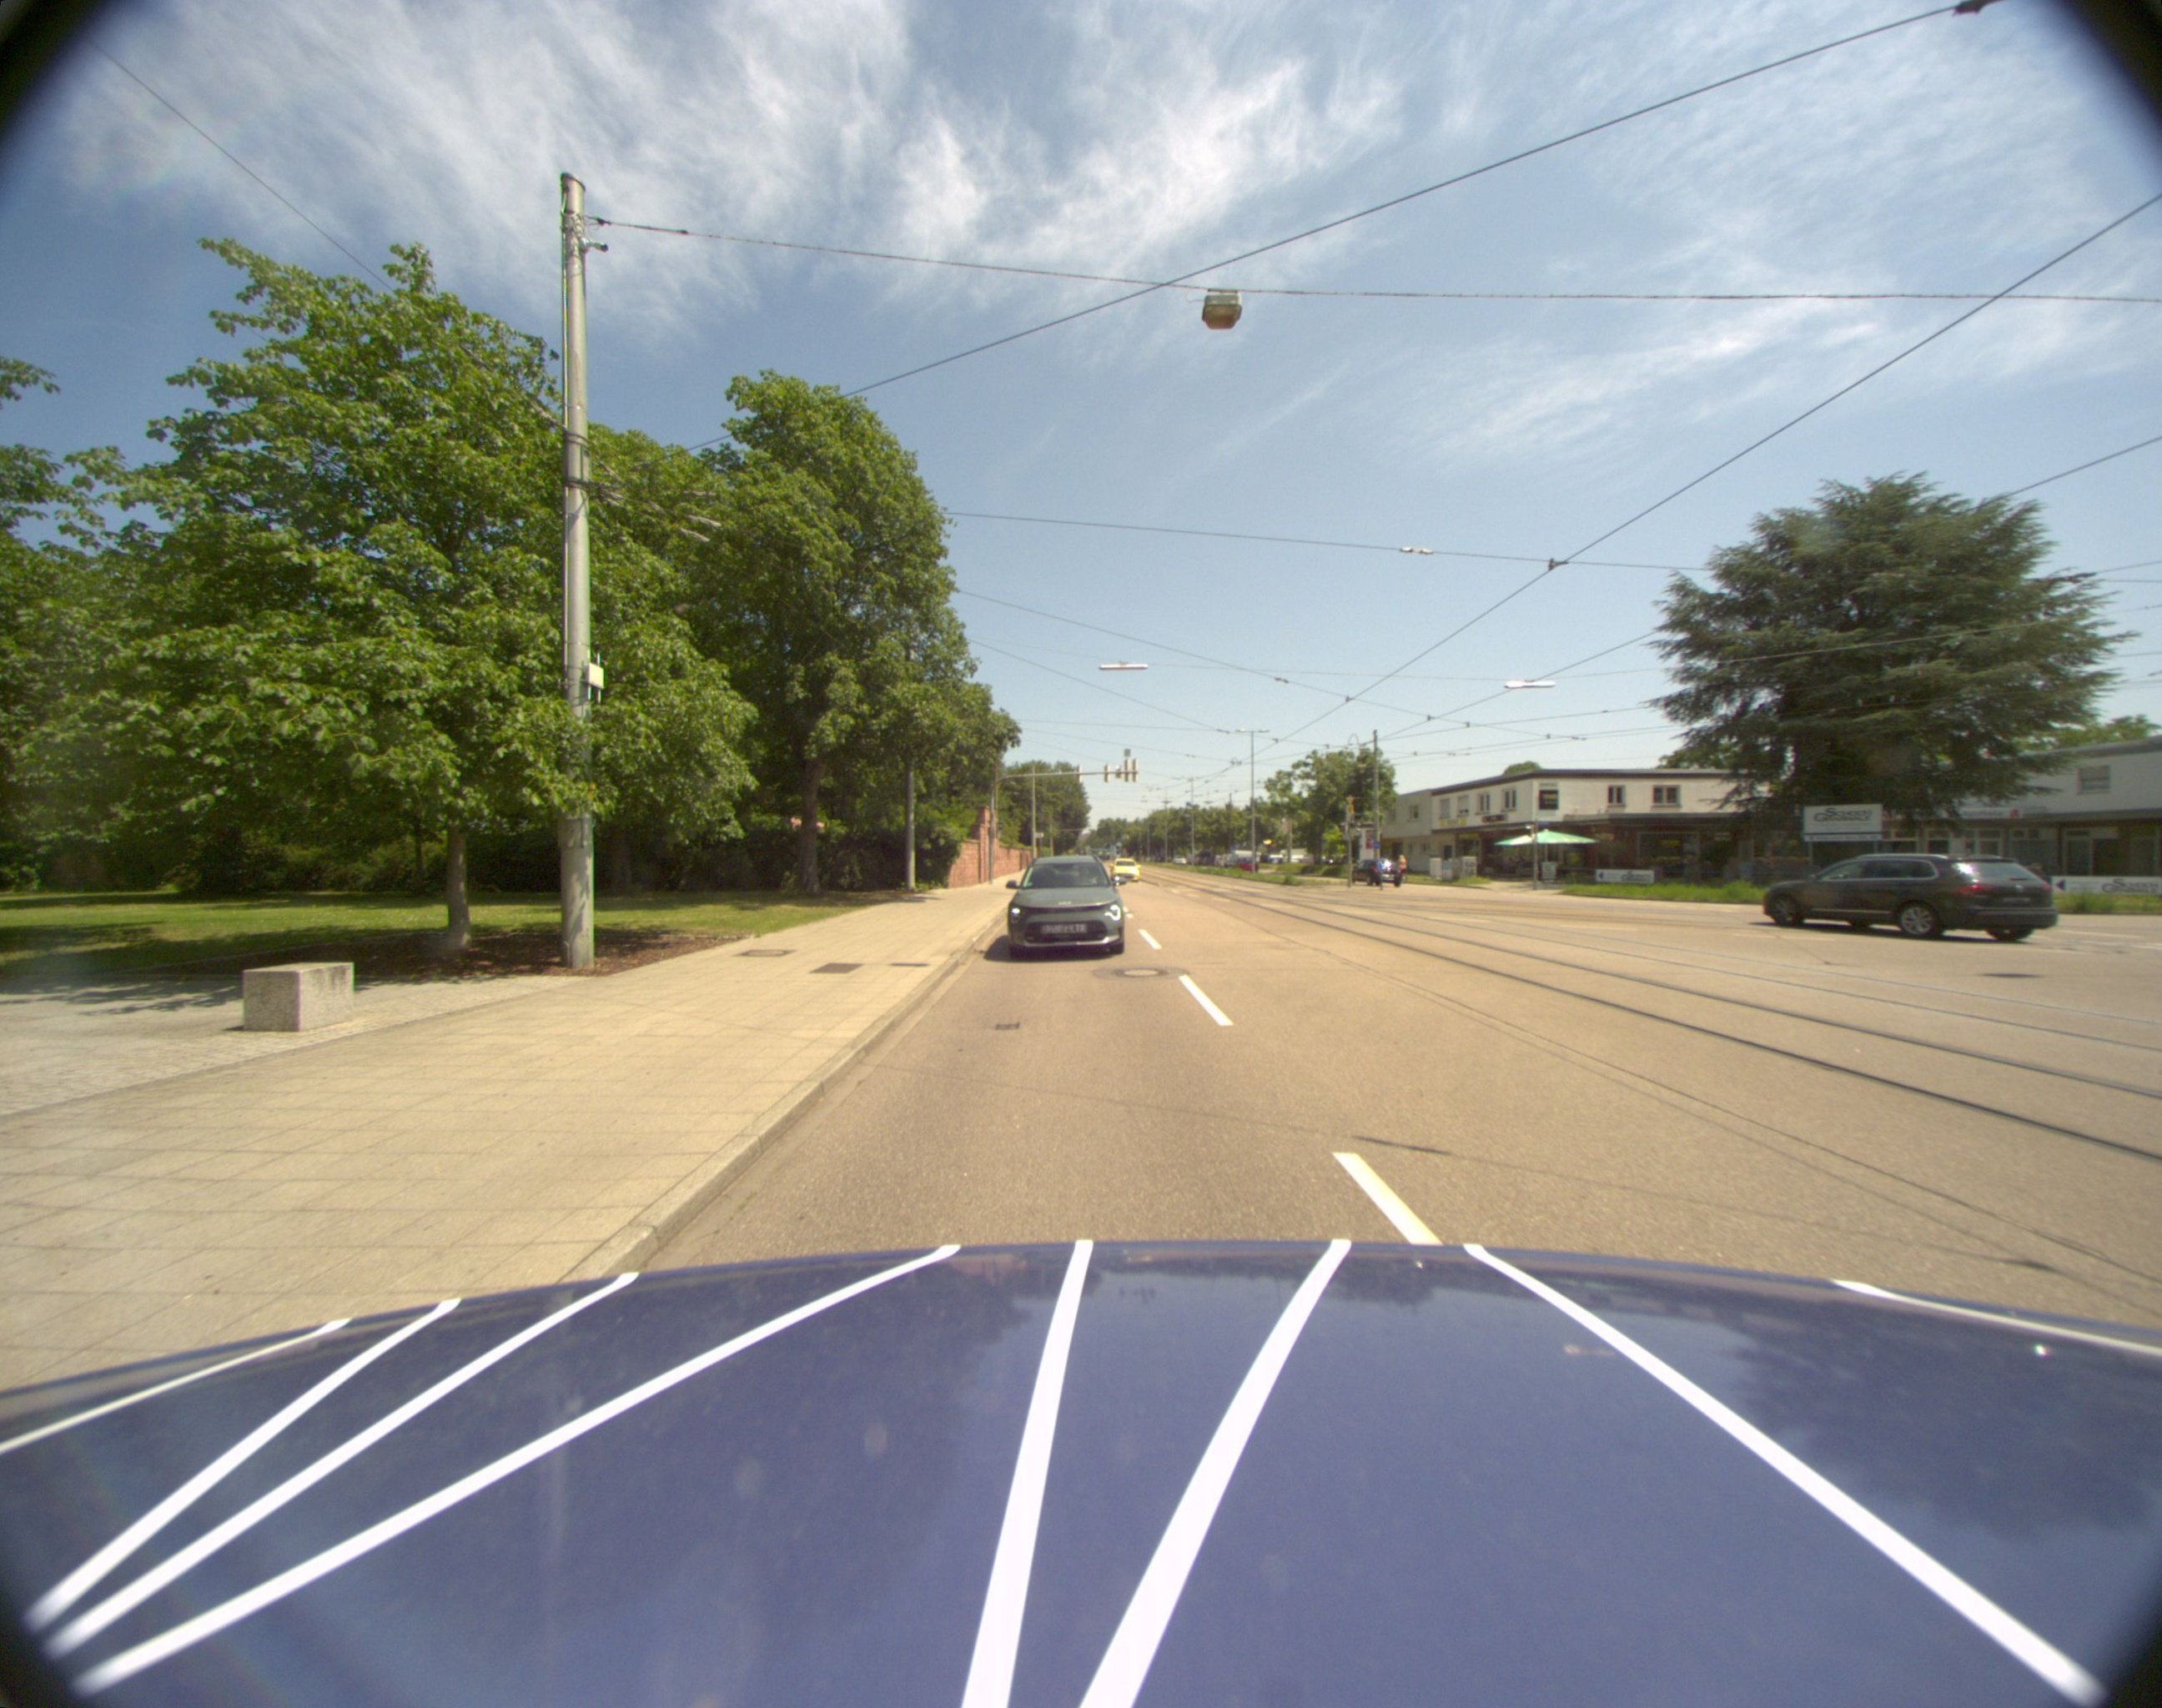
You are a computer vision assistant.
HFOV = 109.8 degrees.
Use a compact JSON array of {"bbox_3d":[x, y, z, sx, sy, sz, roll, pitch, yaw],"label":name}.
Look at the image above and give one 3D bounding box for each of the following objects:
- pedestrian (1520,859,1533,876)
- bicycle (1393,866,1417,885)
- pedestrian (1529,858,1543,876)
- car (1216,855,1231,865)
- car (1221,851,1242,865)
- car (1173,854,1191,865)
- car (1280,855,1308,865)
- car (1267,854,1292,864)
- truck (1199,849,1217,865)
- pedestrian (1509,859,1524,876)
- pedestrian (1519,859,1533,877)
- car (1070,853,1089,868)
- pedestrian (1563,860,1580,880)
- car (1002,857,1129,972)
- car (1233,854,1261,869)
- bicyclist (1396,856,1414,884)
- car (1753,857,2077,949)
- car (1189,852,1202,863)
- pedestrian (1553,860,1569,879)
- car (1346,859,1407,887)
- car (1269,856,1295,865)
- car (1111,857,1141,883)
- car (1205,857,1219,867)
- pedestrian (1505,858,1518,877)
[{"bbox_3d":[30.004,0.906,51.164,0.518,1.157,0.674,0,1,1],"label":"pedestrian"},{"bbox_3d":[20.315,1.320,47.702,0.696,1.142,1.932,0,-1,0],"label":"bicycle"},{"bbox_3d":[29.872,0.844,49.918,0.518,1.202,0.674,0,1,1],"label":"pedestrian"},{"bbox_3d":[20.306,0.831,108.465,1.674,1.378,3.569,0,0,2],"label":"car"},{"bbox_3d":[20.198,0.498,101.965,1.998,1.872,4.661,0,0,1],"label":"car"},{"bbox_3d":[15.805,0.889,118.872,1.999,1.543,4.137,2,0,-4],"label":"car"},{"bbox_3d":[30.124,0.871,107.528,3.415,1.386,1.602,0,0,-5],"label":"car"},{"bbox_3d":[31.313,0.755,119.924,3.415,1.497,1.602,0,0,-5],"label":"car"},{"bbox_3d":[20.733,0.478,124.437,2.225,2.526,4.929,0,0,1],"label":"truck"},{"bbox_3d":[29.279,0.887,51.062,0.566,1.121,0.810,0,1,1],"label":"pedestrian"},{"bbox_3d":[29.279,0.898,49.946,0.518,1.192,0.674,0,1,1],"label":"pedestrian"},{"bbox_3d":[-0.122,0.688,82.482,1.998,1.652,4.000,0,0,0],"label":"car"},{"bbox_3d":[28.841,0.940,44.669,0.518,1.121,0.674,0,1,1],"label":"pedestrian"},{"bbox_3d":[-0.200,0.888,13.151,1.789,1.561,4.184,-2,1,1],"label":"car"},{"bbox_3d":[15.830,0.698,72.702,1.629,1.475,3.827,0,0,-4],"label":"car"},{"bbox_3d":[20.314,0.998,47.661,0.696,1.755,1.137,0,0,0],"label":"bicyclist"},{"bbox_3d":[16.570,0.870,15.548,1.798,1.570,4.495,0,0,2],"label":"car"},{"bbox_3d":[20.881,0.650,138.265,1.681,1.963,4.509,0,0,0],"label":"car"},{"bbox_3d":[28.983,0.925,45.889,0.518,1.121,0.674,0,1,1],"label":"pedestrian"},{"bbox_3d":[15.986,1.018,41.336,1.714,1.430,3.864,0,0,-1],"label":"car"},{"bbox_3d":[30.198,1.018,114.369,3.415,1.386,1.602,0,0,-5],"label":"car"},{"bbox_3d":[2.784,0.984,47.547,1.620,1.413,3.655,2,1,0],"label":"car"},{"bbox_3d":[20.357,1.250,118.399,1.674,1.378,3.670,0,0,2],"label":"car"},{"bbox_3d":[28.620,0.877,50.499,0.576,1.231,0.491,0,1,0],"label":"pedestrian"}]
